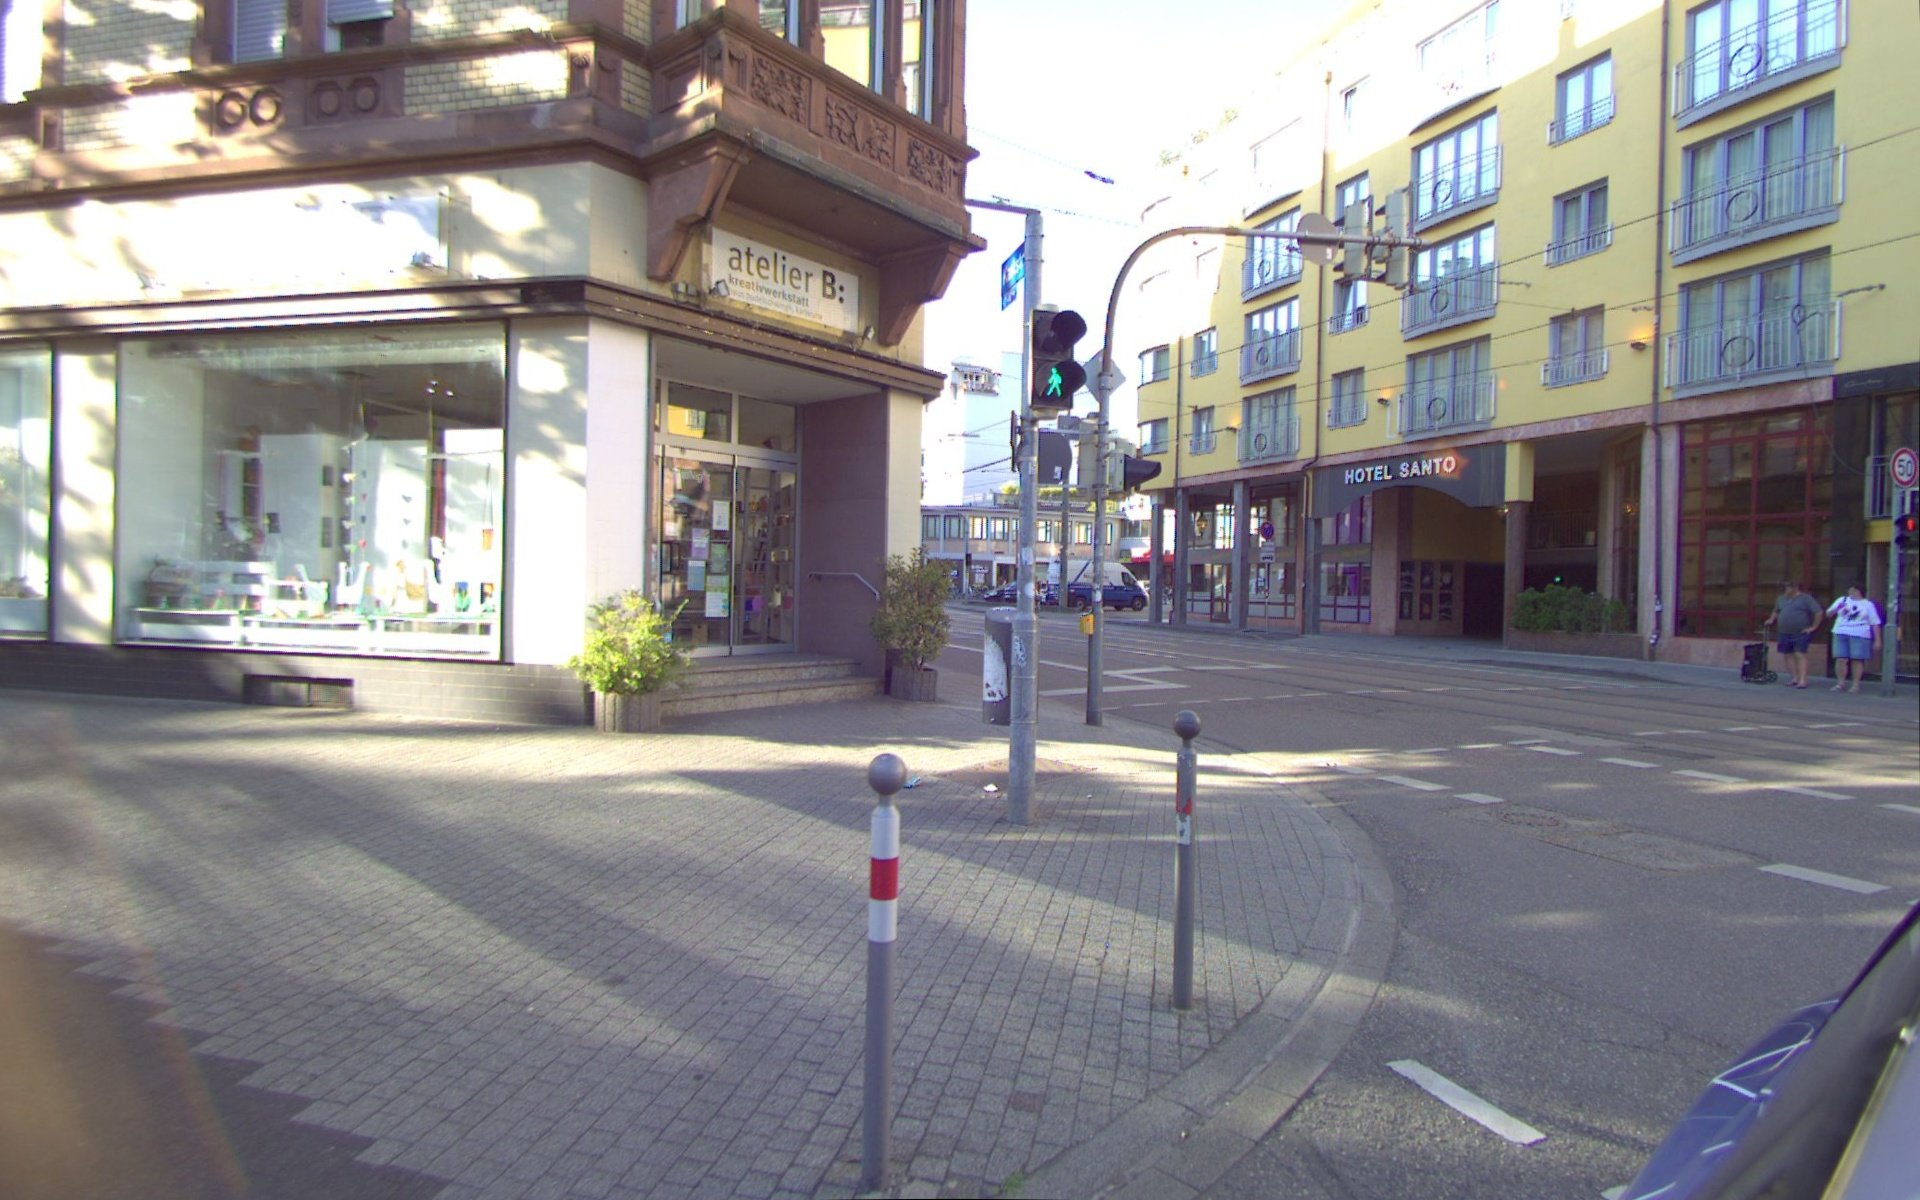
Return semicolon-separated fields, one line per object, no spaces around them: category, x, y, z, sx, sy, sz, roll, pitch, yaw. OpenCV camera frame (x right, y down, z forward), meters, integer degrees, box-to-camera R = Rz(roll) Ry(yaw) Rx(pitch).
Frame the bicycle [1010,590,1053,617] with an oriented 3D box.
bicycle;2.781;0.132;39.576;0.665;1.016;1.966;1;1;-30

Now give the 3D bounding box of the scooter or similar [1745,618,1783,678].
scooter or similar;13.961;0.821;17.565;0.414;0.989;0.358;-3;2;-23

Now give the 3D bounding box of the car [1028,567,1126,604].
car;6.223;-0.790;53.994;4.718;1.860;2.064;1;1;-20

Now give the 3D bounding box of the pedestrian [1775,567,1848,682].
pedestrian;14.425;0.392;17.156;0.712;1.863;0.680;-3;2;-22

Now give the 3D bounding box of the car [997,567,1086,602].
car;4.726;-0.900;58.771;4.718;1.860;2.064;1;1;-20

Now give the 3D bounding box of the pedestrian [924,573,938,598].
pedestrian;-1.912;-0.966;66.714;0.604;1.626;0.901;1;1;-25

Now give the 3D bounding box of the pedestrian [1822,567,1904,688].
pedestrian;14.490;0.411;16.253;0.712;1.863;0.737;-3;2;-22

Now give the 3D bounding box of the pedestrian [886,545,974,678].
pedestrian;-0.425;0.143;13.646;0.987;1.701;1.176;1;1;-10

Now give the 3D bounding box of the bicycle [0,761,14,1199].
bicycle;-2.417;0.885;1.729;0.723;1.039;1.001;1;1;-8

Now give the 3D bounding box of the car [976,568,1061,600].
car;3.536;-0.960;61.416;4.718;1.860;2.064;1;1;-20

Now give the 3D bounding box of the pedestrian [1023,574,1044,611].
pedestrian;3.420;-0.343;47.150;0.710;1.716;0.691;1;1;-24

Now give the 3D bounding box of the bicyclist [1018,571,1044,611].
bicyclist;2.784;-0.352;39.584;0.665;1.538;0.757;1;1;-30

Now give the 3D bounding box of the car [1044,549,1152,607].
car;7.039;-1.126;51.606;5.040;2.792;2.064;1;1;-20

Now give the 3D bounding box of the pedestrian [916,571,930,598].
pedestrian;-2.385;-1.012;65.474;0.604;1.751;0.901;1;1;-25
